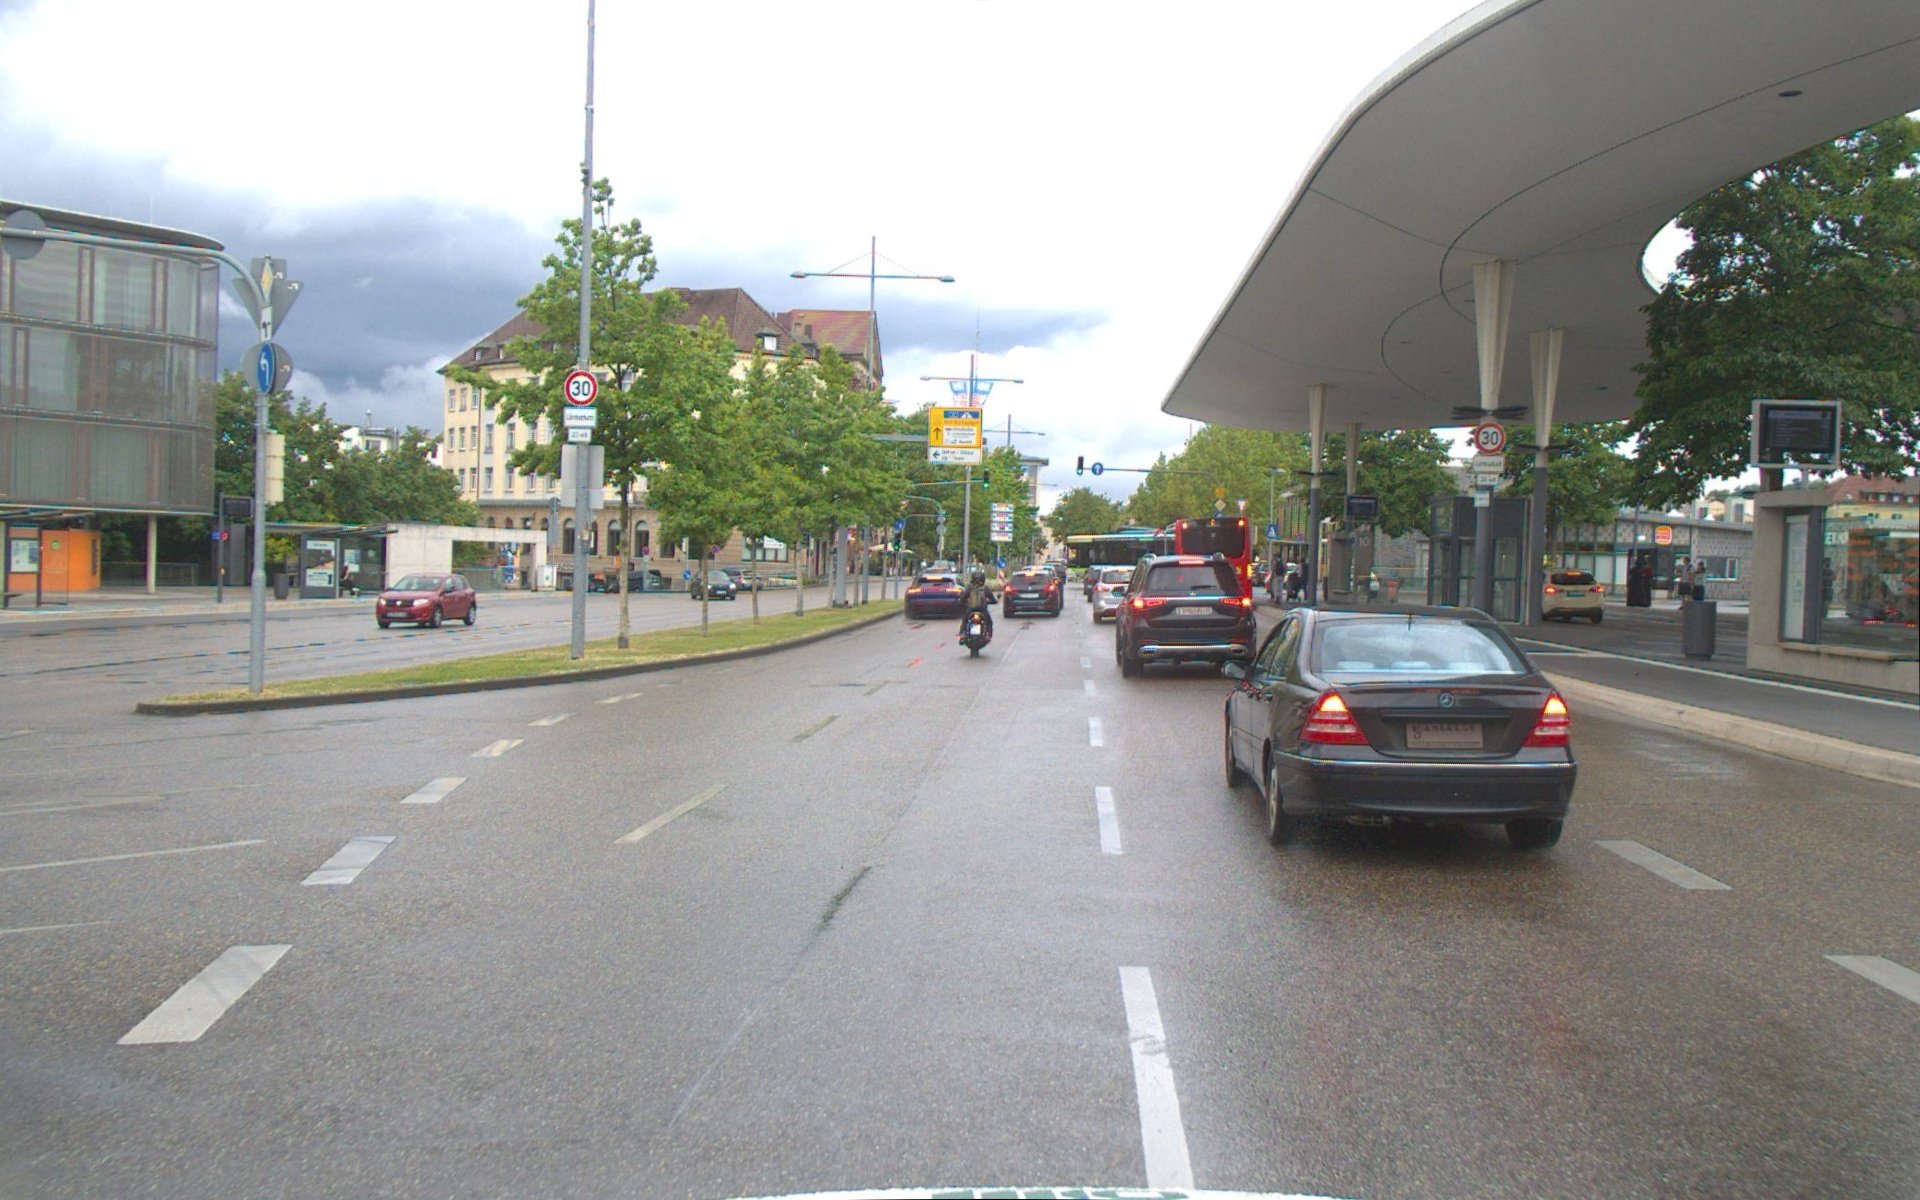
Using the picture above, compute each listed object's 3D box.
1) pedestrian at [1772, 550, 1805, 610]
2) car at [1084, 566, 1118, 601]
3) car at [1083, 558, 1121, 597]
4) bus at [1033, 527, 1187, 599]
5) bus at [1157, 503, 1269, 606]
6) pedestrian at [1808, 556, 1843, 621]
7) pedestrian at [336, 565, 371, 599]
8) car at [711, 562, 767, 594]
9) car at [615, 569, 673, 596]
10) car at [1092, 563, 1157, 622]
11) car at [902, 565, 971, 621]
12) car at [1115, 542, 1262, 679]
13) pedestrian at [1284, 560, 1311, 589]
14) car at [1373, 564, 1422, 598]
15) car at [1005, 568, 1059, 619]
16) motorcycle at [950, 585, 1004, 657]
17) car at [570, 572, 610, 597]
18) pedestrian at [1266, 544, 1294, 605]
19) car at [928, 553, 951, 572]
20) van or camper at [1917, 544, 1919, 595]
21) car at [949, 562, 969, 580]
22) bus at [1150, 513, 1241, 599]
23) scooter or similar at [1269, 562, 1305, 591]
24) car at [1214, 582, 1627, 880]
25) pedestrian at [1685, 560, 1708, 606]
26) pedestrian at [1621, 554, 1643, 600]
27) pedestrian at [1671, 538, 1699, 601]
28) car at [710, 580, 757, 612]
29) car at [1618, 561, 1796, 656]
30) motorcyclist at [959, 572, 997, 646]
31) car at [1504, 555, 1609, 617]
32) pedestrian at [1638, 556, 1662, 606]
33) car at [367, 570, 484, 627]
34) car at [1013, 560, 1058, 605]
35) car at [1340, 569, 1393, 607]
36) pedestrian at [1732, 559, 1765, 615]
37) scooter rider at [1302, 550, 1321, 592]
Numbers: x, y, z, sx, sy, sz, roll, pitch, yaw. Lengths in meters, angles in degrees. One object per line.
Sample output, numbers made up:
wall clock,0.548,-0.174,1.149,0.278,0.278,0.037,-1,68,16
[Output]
pedestrian,25.048,-0.616,50.022,0.694,1.736,0.768,-3,3,16
car,6.936,-0.823,81.574,1.542,1.594,3.798,-2,1,4
car,6.146,-1.011,71.719,1.542,1.594,3.873,-2,1,4
bus,8.868,-2.183,99.749,2.810,4.057,11.734,0,1,-32
bus,8.958,-1.607,59.798,3.217,3.349,10.885,0,1,5
pedestrian,23.168,-0.308,44.278,0.549,1.721,0.613,1,1,-3
pedestrian,-24.378,-0.710,66.485,0.956,1.289,0.849,5,3,24
car,-13.310,-1.326,99.585,1.847,1.713,3.958,5,-2,-31
car,-21.392,-1.182,111.840,2.098,1.807,4.332,-1,1,-38
car,4.741,-0.257,47.990,1.704,1.594,3.873,-2,1,4
car,-0.689,-0.260,52.227,1.778,1.598,4.406,-2,1,4
car,3.505,0.088,26.211,1.916,1.908,4.876,-2,1,4
pedestrian,12.282,-0.934,60.158,0.894,1.002,0.634,1,-3,18
car,22.245,-0.971,84.216,1.509,1.586,3.409,4,1,0
car,2.341,-0.241,53.151,1.542,1.531,3.874,-2,1,5
motorcycle,0.329,0.373,31.129,0.776,1.284,1.857,-1,1,7
car,-25.831,-1.123,115.499,1.644,1.632,3.214,-4,3,-34
pedestrian,11.033,-0.878,57.053,0.761,2.048,0.782,3,2,16
car,-1.814,-3.342,147.368,1.742,1.594,3.432,-2,1,4
van or camper,46.307,-1.373,75.017,4.589,2.309,2.110,0,1,0
car,-0.107,-2.709,153.398,1.542,1.594,3.432,-2,1,4
bus,9.686,-1.811,68.963,3.222,3.346,8.855,0,1,5
scooter or similar,11.918,-0.851,60.312,1.217,1.030,0.764,1,0,18
car,2.740,0.668,10.811,1.662,1.487,4.306,-1,1,3
pedestrian,26.252,-0.603,58.930,0.570,1.605,0.558,2,-3,39
pedestrian,24.059,-0.815,59.202,0.569,1.605,0.559,3,-3,33
pedestrian,24.232,-1.014,55.278,0.710,2.049,0.668,3,-3,30
car,-11.482,-0.211,84.043,1.645,1.554,4.641,0,1,1
car,12.506,0.099,27.880,1.613,1.478,3.239,1,2,2
motorcyclist,0.348,0.163,31.160,0.628,1.371,0.689,0,1,7
car,17.323,-0.446,48.239,1.676,1.691,4.242,1,1,3
pedestrian,24.893,-0.680,59.651,0.570,1.746,0.558,2,-3,39
car,-15.361,-0.078,47.766,1.784,1.579,4.035,0,1,5
car,2.839,-0.670,61.624,1.542,1.594,3.873,-2,1,4
car,19.554,-0.599,79.655,1.676,1.691,4.242,1,1,3
pedestrian,22.855,-0.366,47.952,0.586,1.609,0.711,1,-1,-5
scooter rider,12.758,-1.057,60.042,0.579,1.516,0.765,0,0,17
